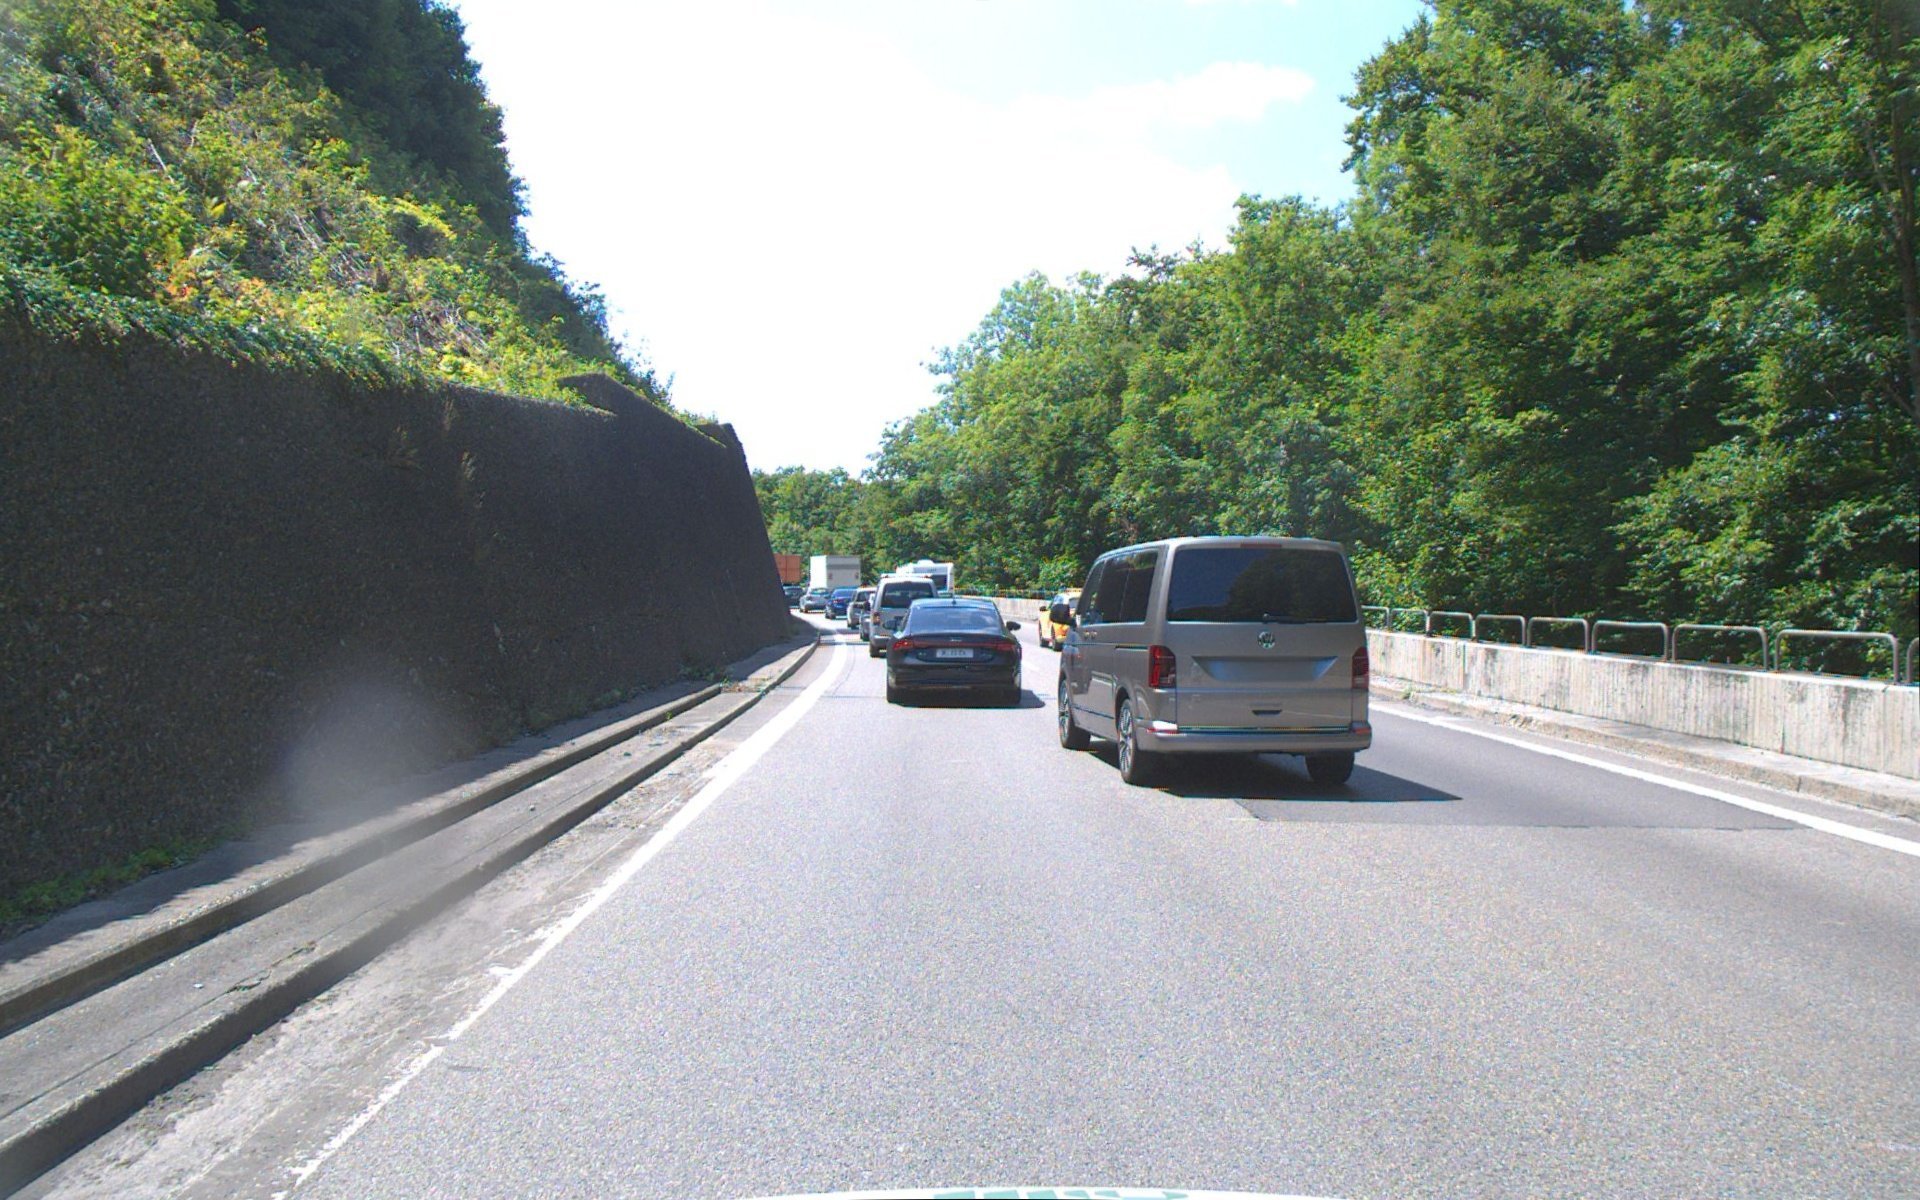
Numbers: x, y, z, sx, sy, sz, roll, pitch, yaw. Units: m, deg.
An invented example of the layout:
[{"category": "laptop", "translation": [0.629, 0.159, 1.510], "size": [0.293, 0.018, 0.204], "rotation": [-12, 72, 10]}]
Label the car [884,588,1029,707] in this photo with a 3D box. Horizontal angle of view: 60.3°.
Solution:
[{"category": "car", "translation": [-0.116, 0.601, 23.717], "size": [1.866, 1.515, 4.377], "rotation": [1, 0, -2]}]

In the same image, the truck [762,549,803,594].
[{"category": "truck", "translation": [-15.322, -2.422, 142.167], "size": [3.104, 3.528, 8.208], "rotation": [4, 0, -7]}]

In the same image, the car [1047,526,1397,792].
[{"category": "car", "translation": [2.098, 0.430, 14.736], "size": [1.903, 1.965, 4.688], "rotation": [1, 0, -6]}]

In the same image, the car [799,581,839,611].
[{"category": "car", "translation": [-8.097, -0.230, 94.715], "size": [1.957, 1.646, 3.992], "rotation": [1, 0, -9]}]

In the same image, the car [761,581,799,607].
[{"category": "car", "translation": [-11.635, -0.385, 106.907], "size": [1.723, 1.598, 3.753], "rotation": [1, 0, -17]}]

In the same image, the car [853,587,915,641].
[{"category": "car", "translation": [-2.395, 0.401, 51.255], "size": [1.737, 1.498, 3.997], "rotation": [3, 0, -4]}]

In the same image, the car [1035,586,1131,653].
[{"category": "car", "translation": [3.108, 0.467, 42.549], "size": [1.773, 1.503, 4.078], "rotation": [4, 0, -5]}]

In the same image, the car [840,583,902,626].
[{"category": "car", "translation": [-3.498, 0.151, 64.461], "size": [1.861, 1.612, 3.761], "rotation": [1, 0, -11]}]

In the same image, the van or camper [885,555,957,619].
[{"category": "van or camper", "translation": [-1.996, -0.657, 82.863], "size": [2.556, 2.904, 6.321], "rotation": [4, 0, -10]}]

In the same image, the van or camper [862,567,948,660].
[{"category": "van or camper", "translation": [-1.275, 0.287, 39.262], "size": [1.816, 1.975, 4.164], "rotation": [4, 0, -1]}]

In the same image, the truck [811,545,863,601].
[{"category": "truck", "translation": [-9.025, -1.973, 120.595], "size": [2.872, 3.751, 7.707], "rotation": [4, 0, -10]}]

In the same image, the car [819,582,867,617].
[{"category": "car", "translation": [-5.663, -0.051, 79.833], "size": [1.825, 1.648, 3.989], "rotation": [0, 1, -12]}]
